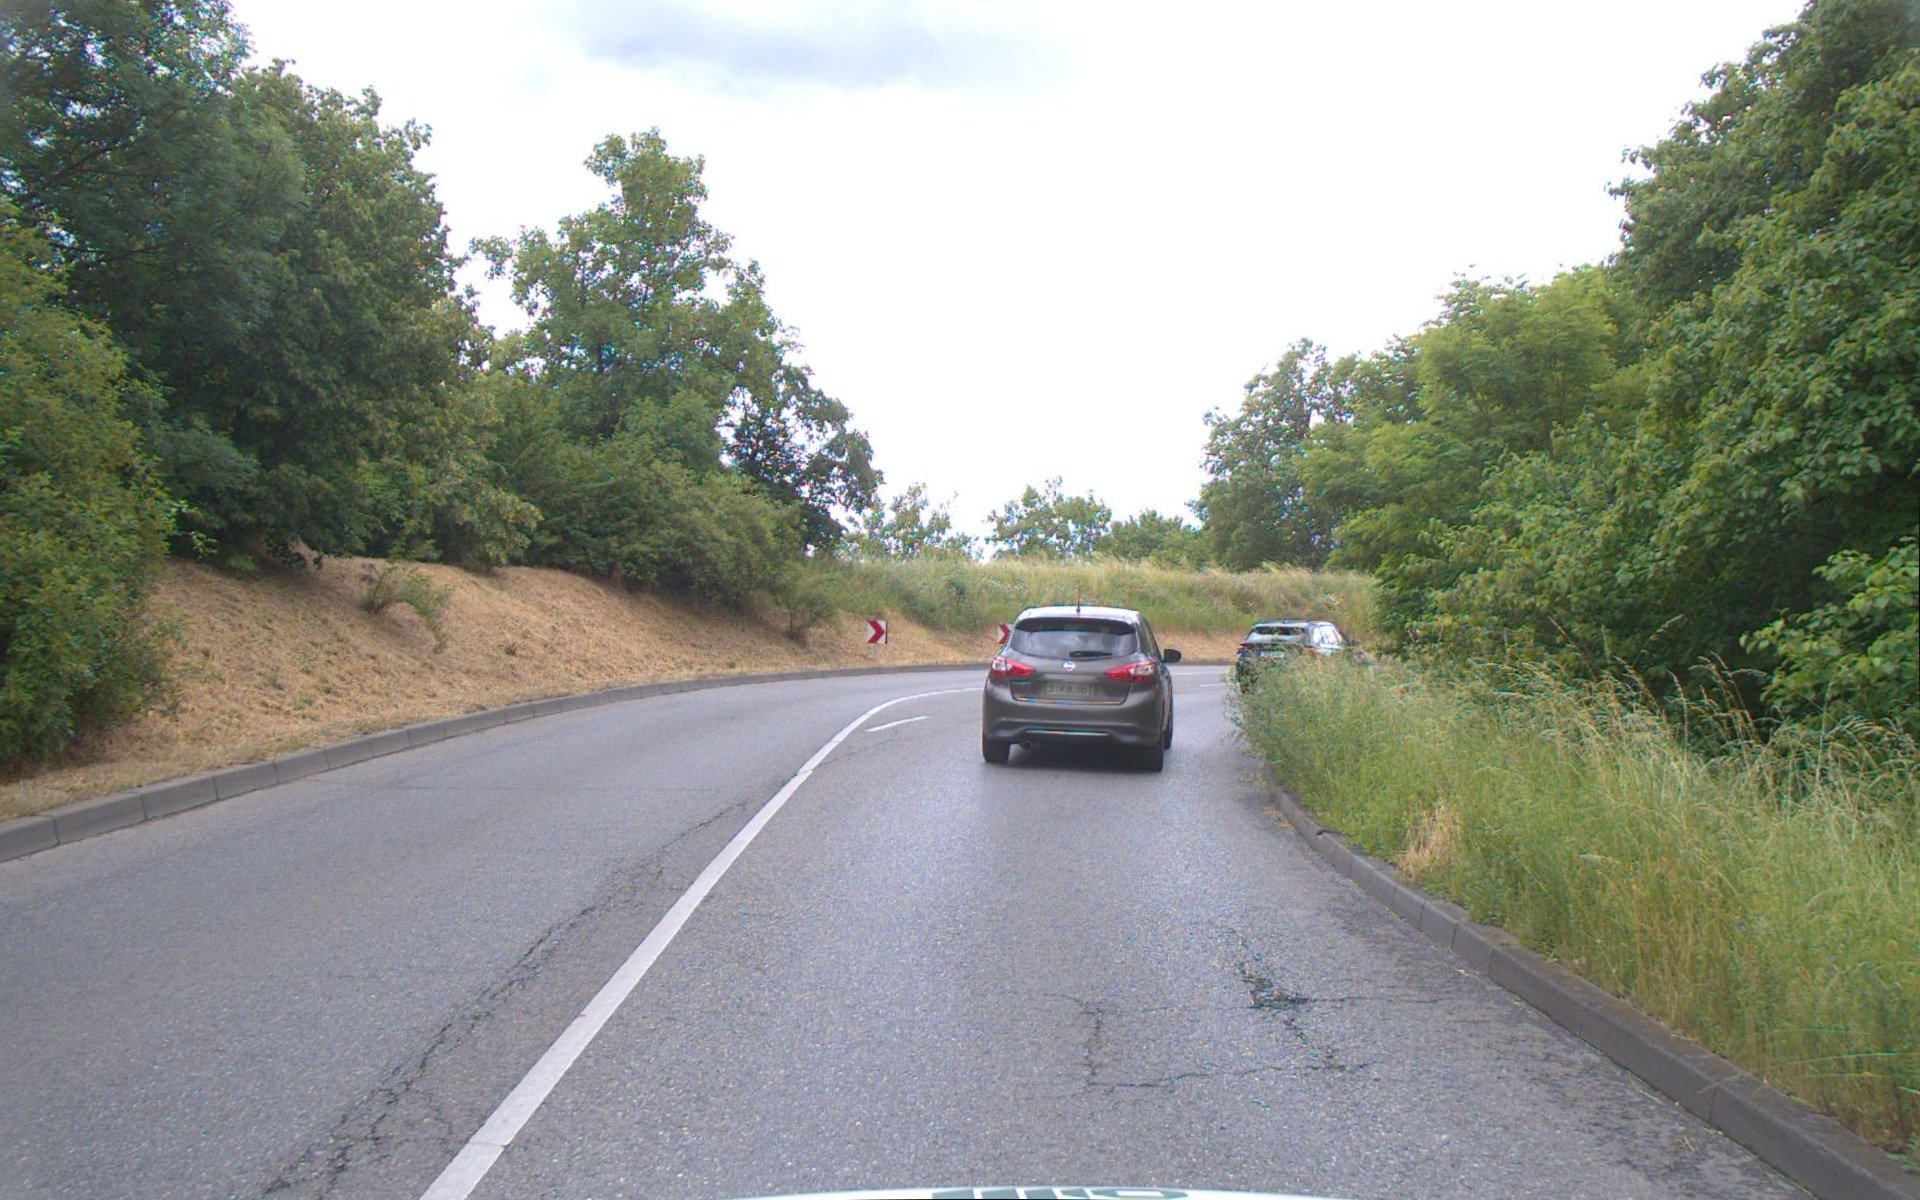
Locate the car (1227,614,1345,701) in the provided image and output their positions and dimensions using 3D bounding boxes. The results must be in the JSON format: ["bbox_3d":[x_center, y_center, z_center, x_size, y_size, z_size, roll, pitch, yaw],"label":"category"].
[{"bbox_3d":[6.508,1.081,32.728,1.860,1.492,4.002,2,1,17],"label":"car"}]

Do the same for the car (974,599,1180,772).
[{"bbox_3d":[1.327,0.771,17.110,1.805,1.519,4.003,1,0,8],"label":"car"}]
